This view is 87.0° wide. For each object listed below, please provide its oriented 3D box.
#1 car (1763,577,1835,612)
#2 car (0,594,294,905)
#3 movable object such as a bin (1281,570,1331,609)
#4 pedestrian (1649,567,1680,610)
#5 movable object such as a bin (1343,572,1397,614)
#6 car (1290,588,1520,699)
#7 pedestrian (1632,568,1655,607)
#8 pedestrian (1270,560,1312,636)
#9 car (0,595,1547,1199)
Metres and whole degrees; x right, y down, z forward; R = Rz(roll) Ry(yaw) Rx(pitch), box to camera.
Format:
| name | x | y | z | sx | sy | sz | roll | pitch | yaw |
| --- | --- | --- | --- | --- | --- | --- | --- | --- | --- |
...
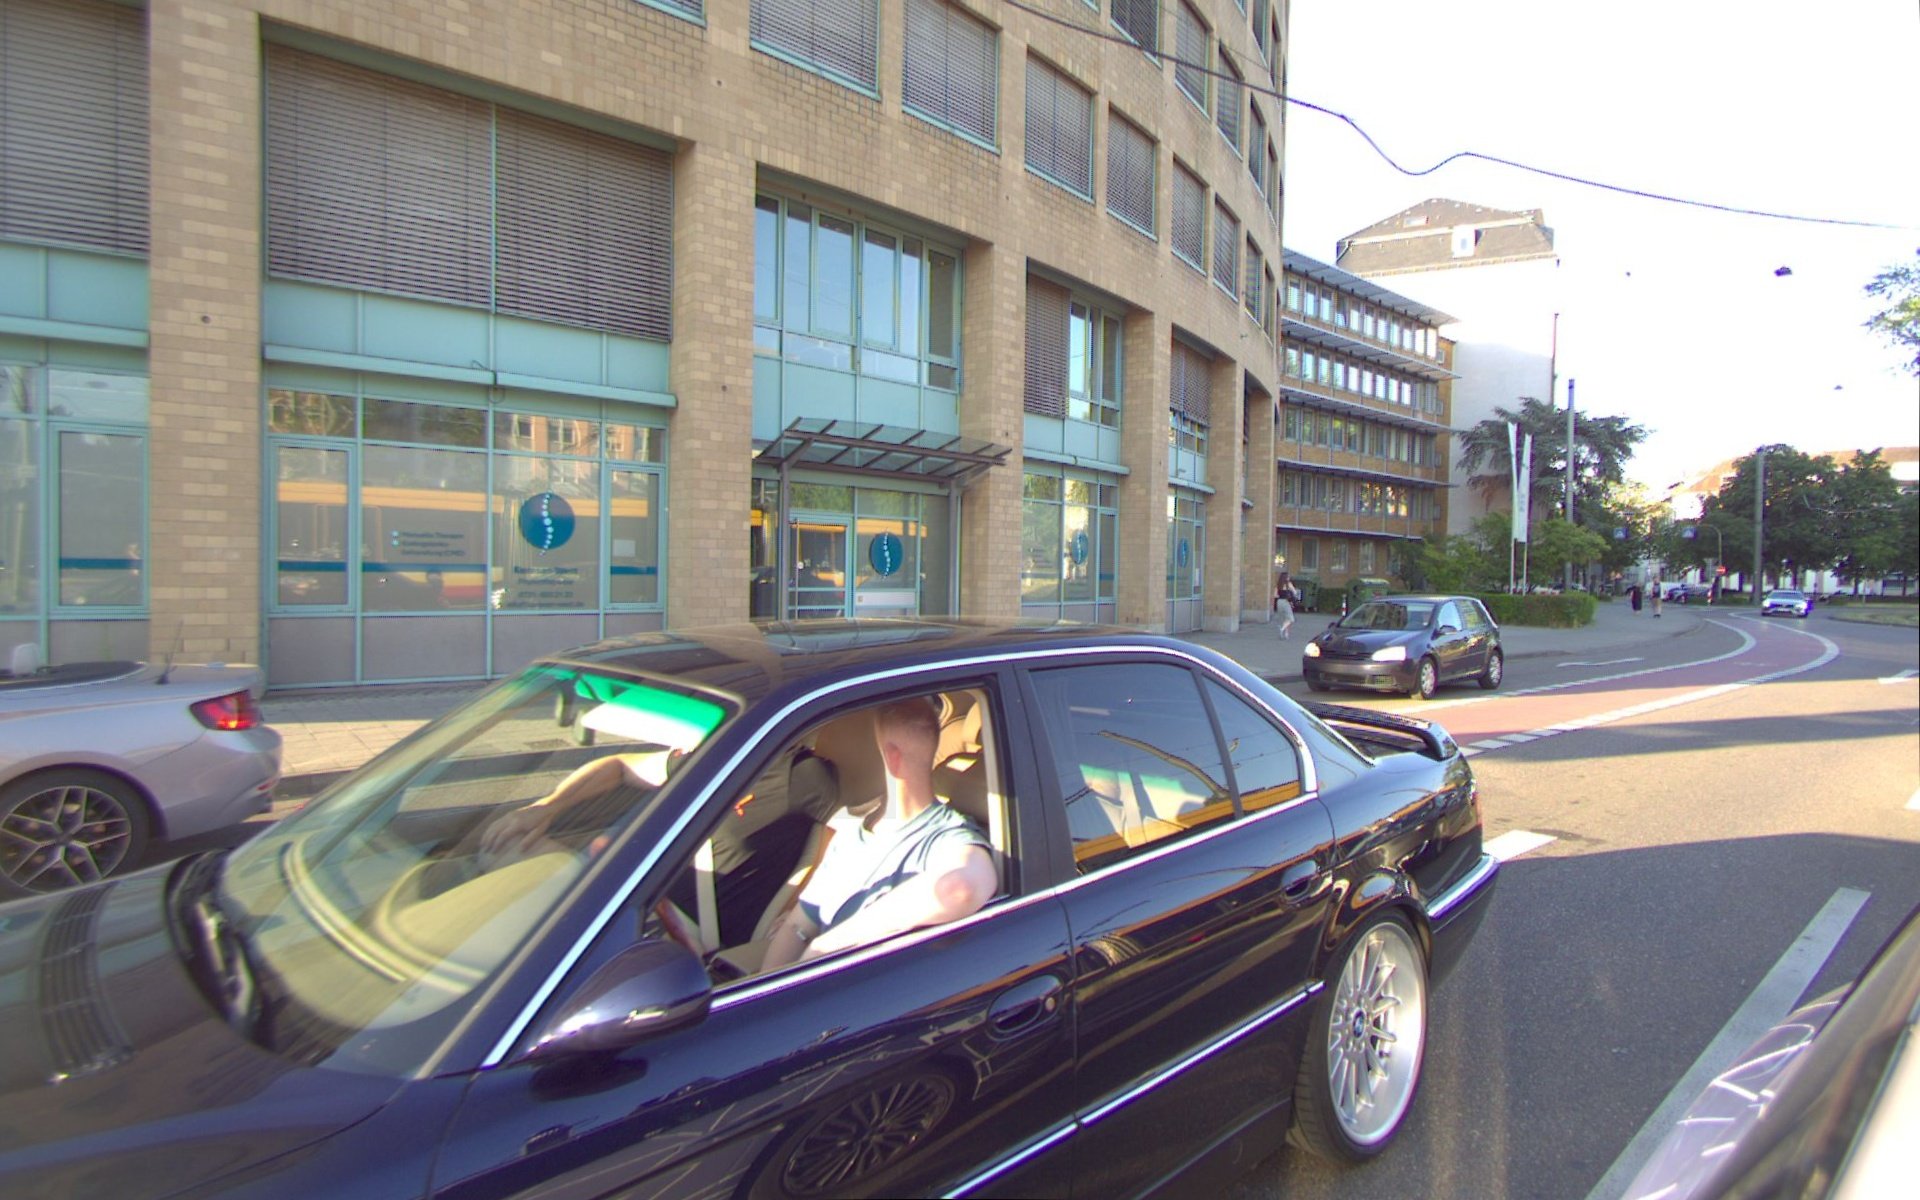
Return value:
| name | x | y | z | sx | sy | sz | roll | pitch | yaw |
| --- | --- | --- | --- | --- | --- | --- | --- | --- | --- |
| car | 44.485 | -0.310 | 53.641 | 3.925 | 1.771 | 2.000 | -1 | 2 | -36 |
| car | -5.656 | 0.695 | 4.658 | 4.154 | 1.402 | 1.746 | -1 | 1 | -41 |
| movable object such as a bin | 13.565 | -0.423 | 39.677 | 1.310 | 1.477 | 1.425 | -1 | 2 | -43 |
| pedestrian | 32.036 | -0.513 | 46.020 | 1.107 | 1.918 | 0.910 | 0 | 1 | -41 |
| movable object such as a bin | 15.031 | -0.271 | 37.083 | 1.311 | 1.477 | 1.424 | -1 | 2 | -45 |
| car | 6.827 | 0.553 | 15.349 | 3.932 | 1.404 | 1.757 | -1 | 2 | -42 |
| pedestrian | 32.714 | -0.616 | 48.411 | 0.711 | 1.830 | 0.728 | 0 | 1 | -41 |
| pedestrian | 7.581 | -0.068 | 23.173 | 0.702 | 1.702 | 0.626 | 0 | 2 | -44 |
| car | -0.539 | 0.719 | 2.449 | 4.656 | 1.402 | 1.997 | -1 | 1 | -41 |
